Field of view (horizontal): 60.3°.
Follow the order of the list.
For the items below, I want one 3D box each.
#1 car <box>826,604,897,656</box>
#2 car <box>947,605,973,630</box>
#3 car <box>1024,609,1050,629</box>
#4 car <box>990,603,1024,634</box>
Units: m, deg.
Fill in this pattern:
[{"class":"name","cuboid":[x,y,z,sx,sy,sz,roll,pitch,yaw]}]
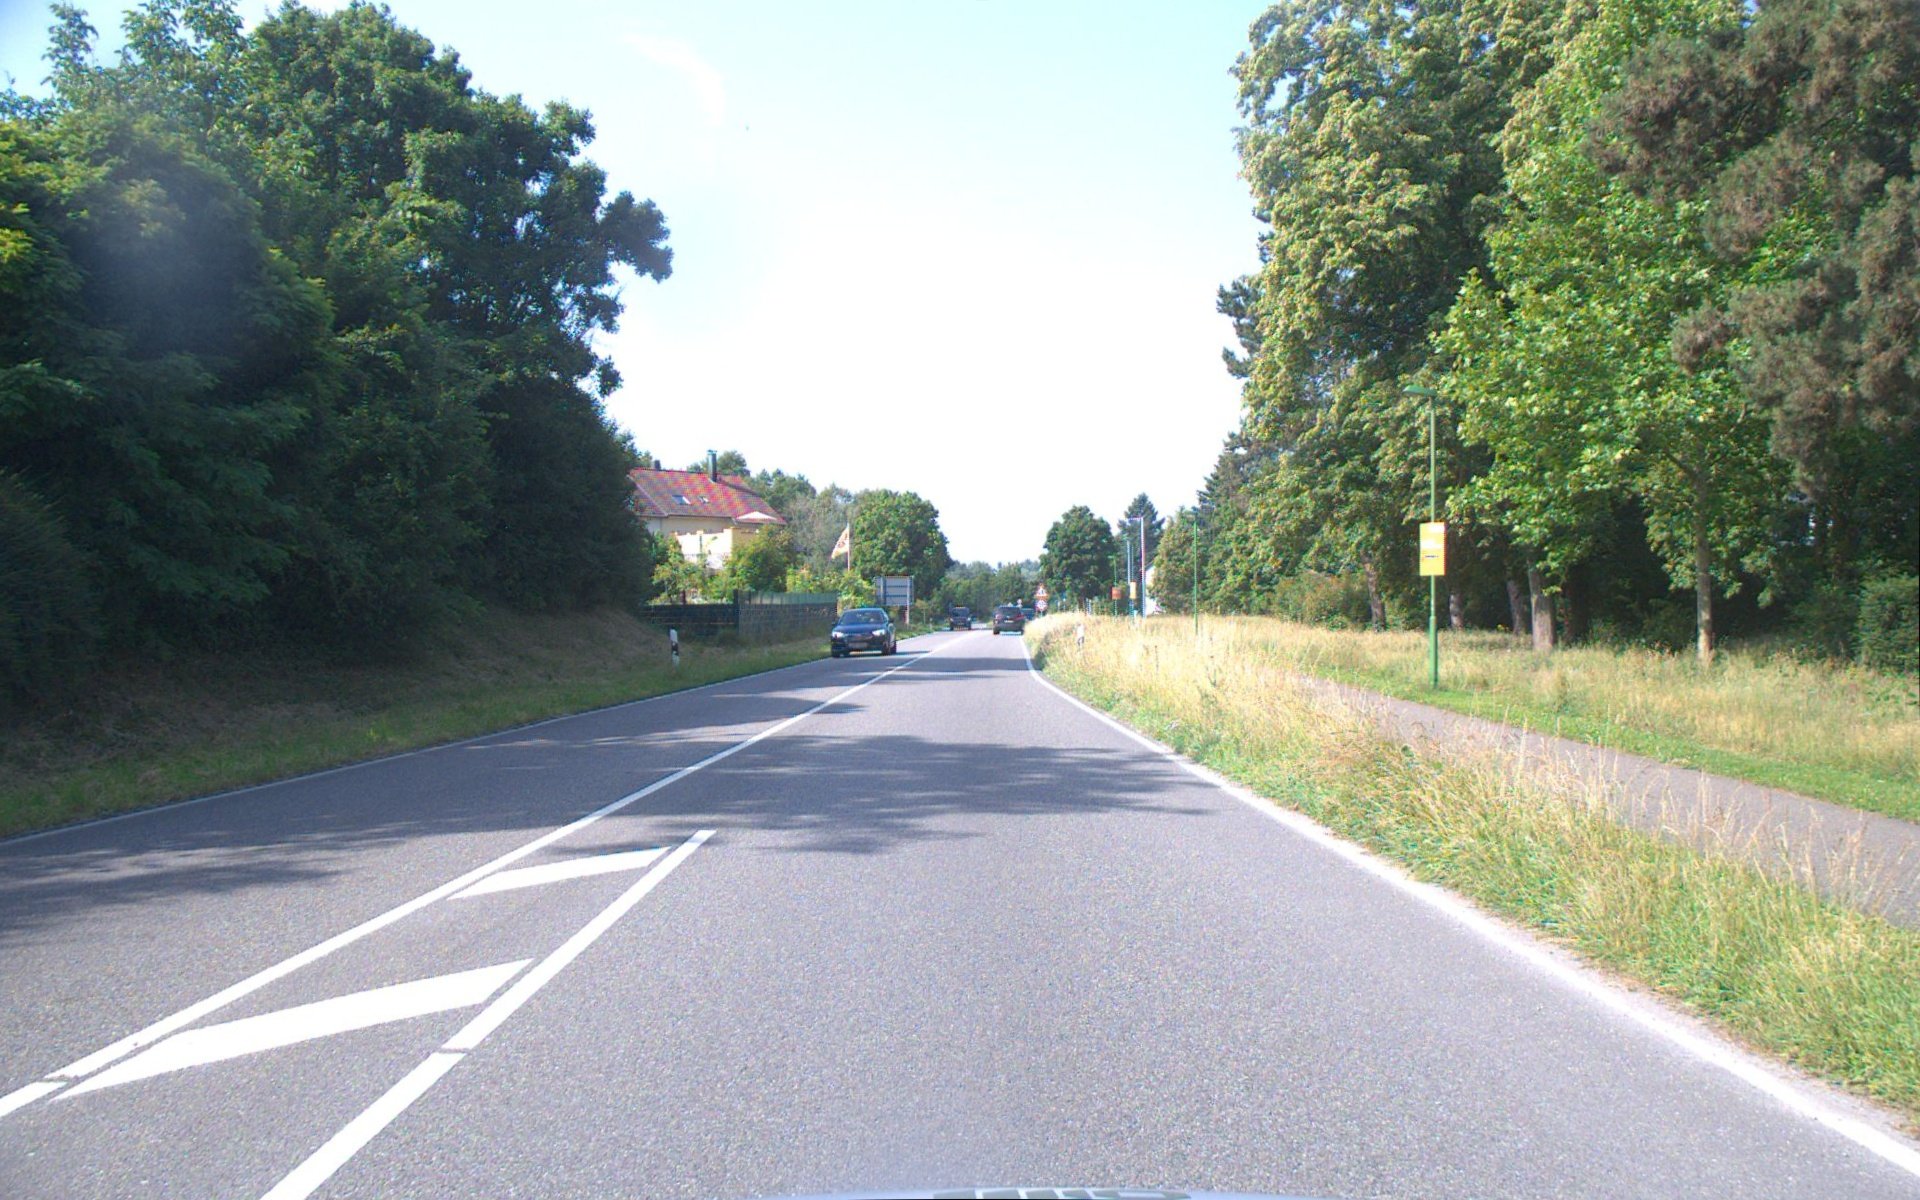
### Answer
[{"class":"car","cuboid":[-3.032,0.901,51.729,1.832,1.448,4.577,-2,0,1]},{"class":"car","cuboid":[0.030,1.395,132.053,1.899,1.849,4.243,-2,-1,2]},{"class":"car","cuboid":[6.070,1.479,130.685,1.701,1.542,3.913,0,0,-2]},{"class":"car","cuboid":[2.768,1.069,98.662,1.886,1.802,3.999,0,0,0]}]
